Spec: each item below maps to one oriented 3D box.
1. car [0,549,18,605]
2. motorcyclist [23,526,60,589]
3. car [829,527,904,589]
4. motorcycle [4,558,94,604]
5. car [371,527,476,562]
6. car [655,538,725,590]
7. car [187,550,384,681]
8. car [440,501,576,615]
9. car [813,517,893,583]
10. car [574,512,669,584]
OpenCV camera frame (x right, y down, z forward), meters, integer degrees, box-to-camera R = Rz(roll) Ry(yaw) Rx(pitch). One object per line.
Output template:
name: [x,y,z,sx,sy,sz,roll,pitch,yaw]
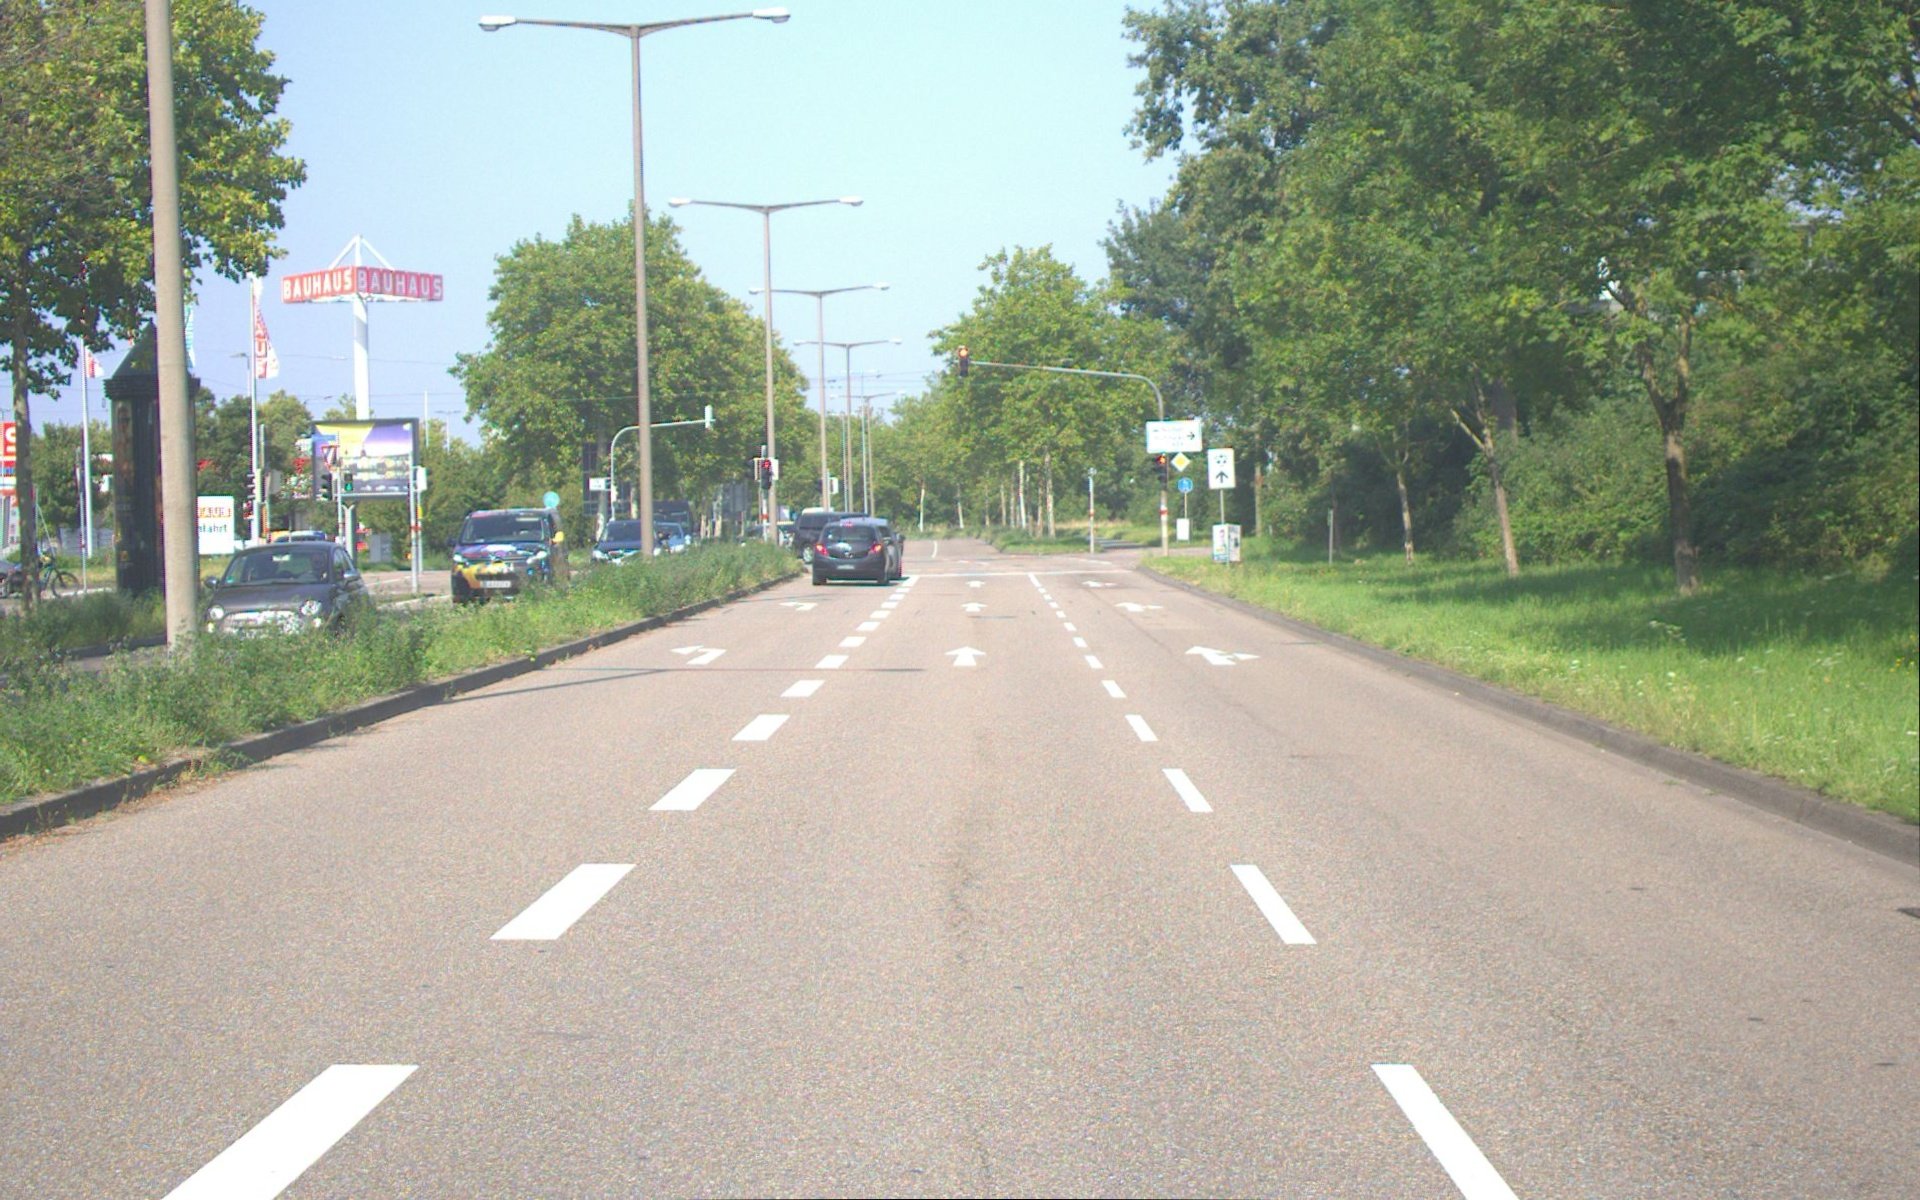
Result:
car: [-26.009,-0.566,87.418,3.691,1.438,1.466,-1,1,-35]
motorcyclist: [-22.986,-1.074,86.032,0.681,1.566,0.683,-1,1,-35]
car: [-2.311,-1.062,85.965,1.692,1.480,4.000,-2,1,0]
motorcycle: [-22.825,-0.481,86.152,2.069,1.132,0.677,-1,1,-35]
car: [-19.304,-1.990,123.726,3.376,1.133,1.493,-2,1,9]
car: [-8.348,-1.134,106.479,1.773,1.568,4.000,0,1,1]
car: [-8.047,0.157,41.270,1.676,1.481,3.493,0,1,0]
car: [-8.493,-0.817,64.962,1.932,2.021,4.567,-2,1,0]
car: [-2.457,-1.174,79.711,1.692,1.481,4.000,0,1,0]
car: [-8.658,-1.332,88.270,1.993,1.700,4.505,-3,1,-1]
